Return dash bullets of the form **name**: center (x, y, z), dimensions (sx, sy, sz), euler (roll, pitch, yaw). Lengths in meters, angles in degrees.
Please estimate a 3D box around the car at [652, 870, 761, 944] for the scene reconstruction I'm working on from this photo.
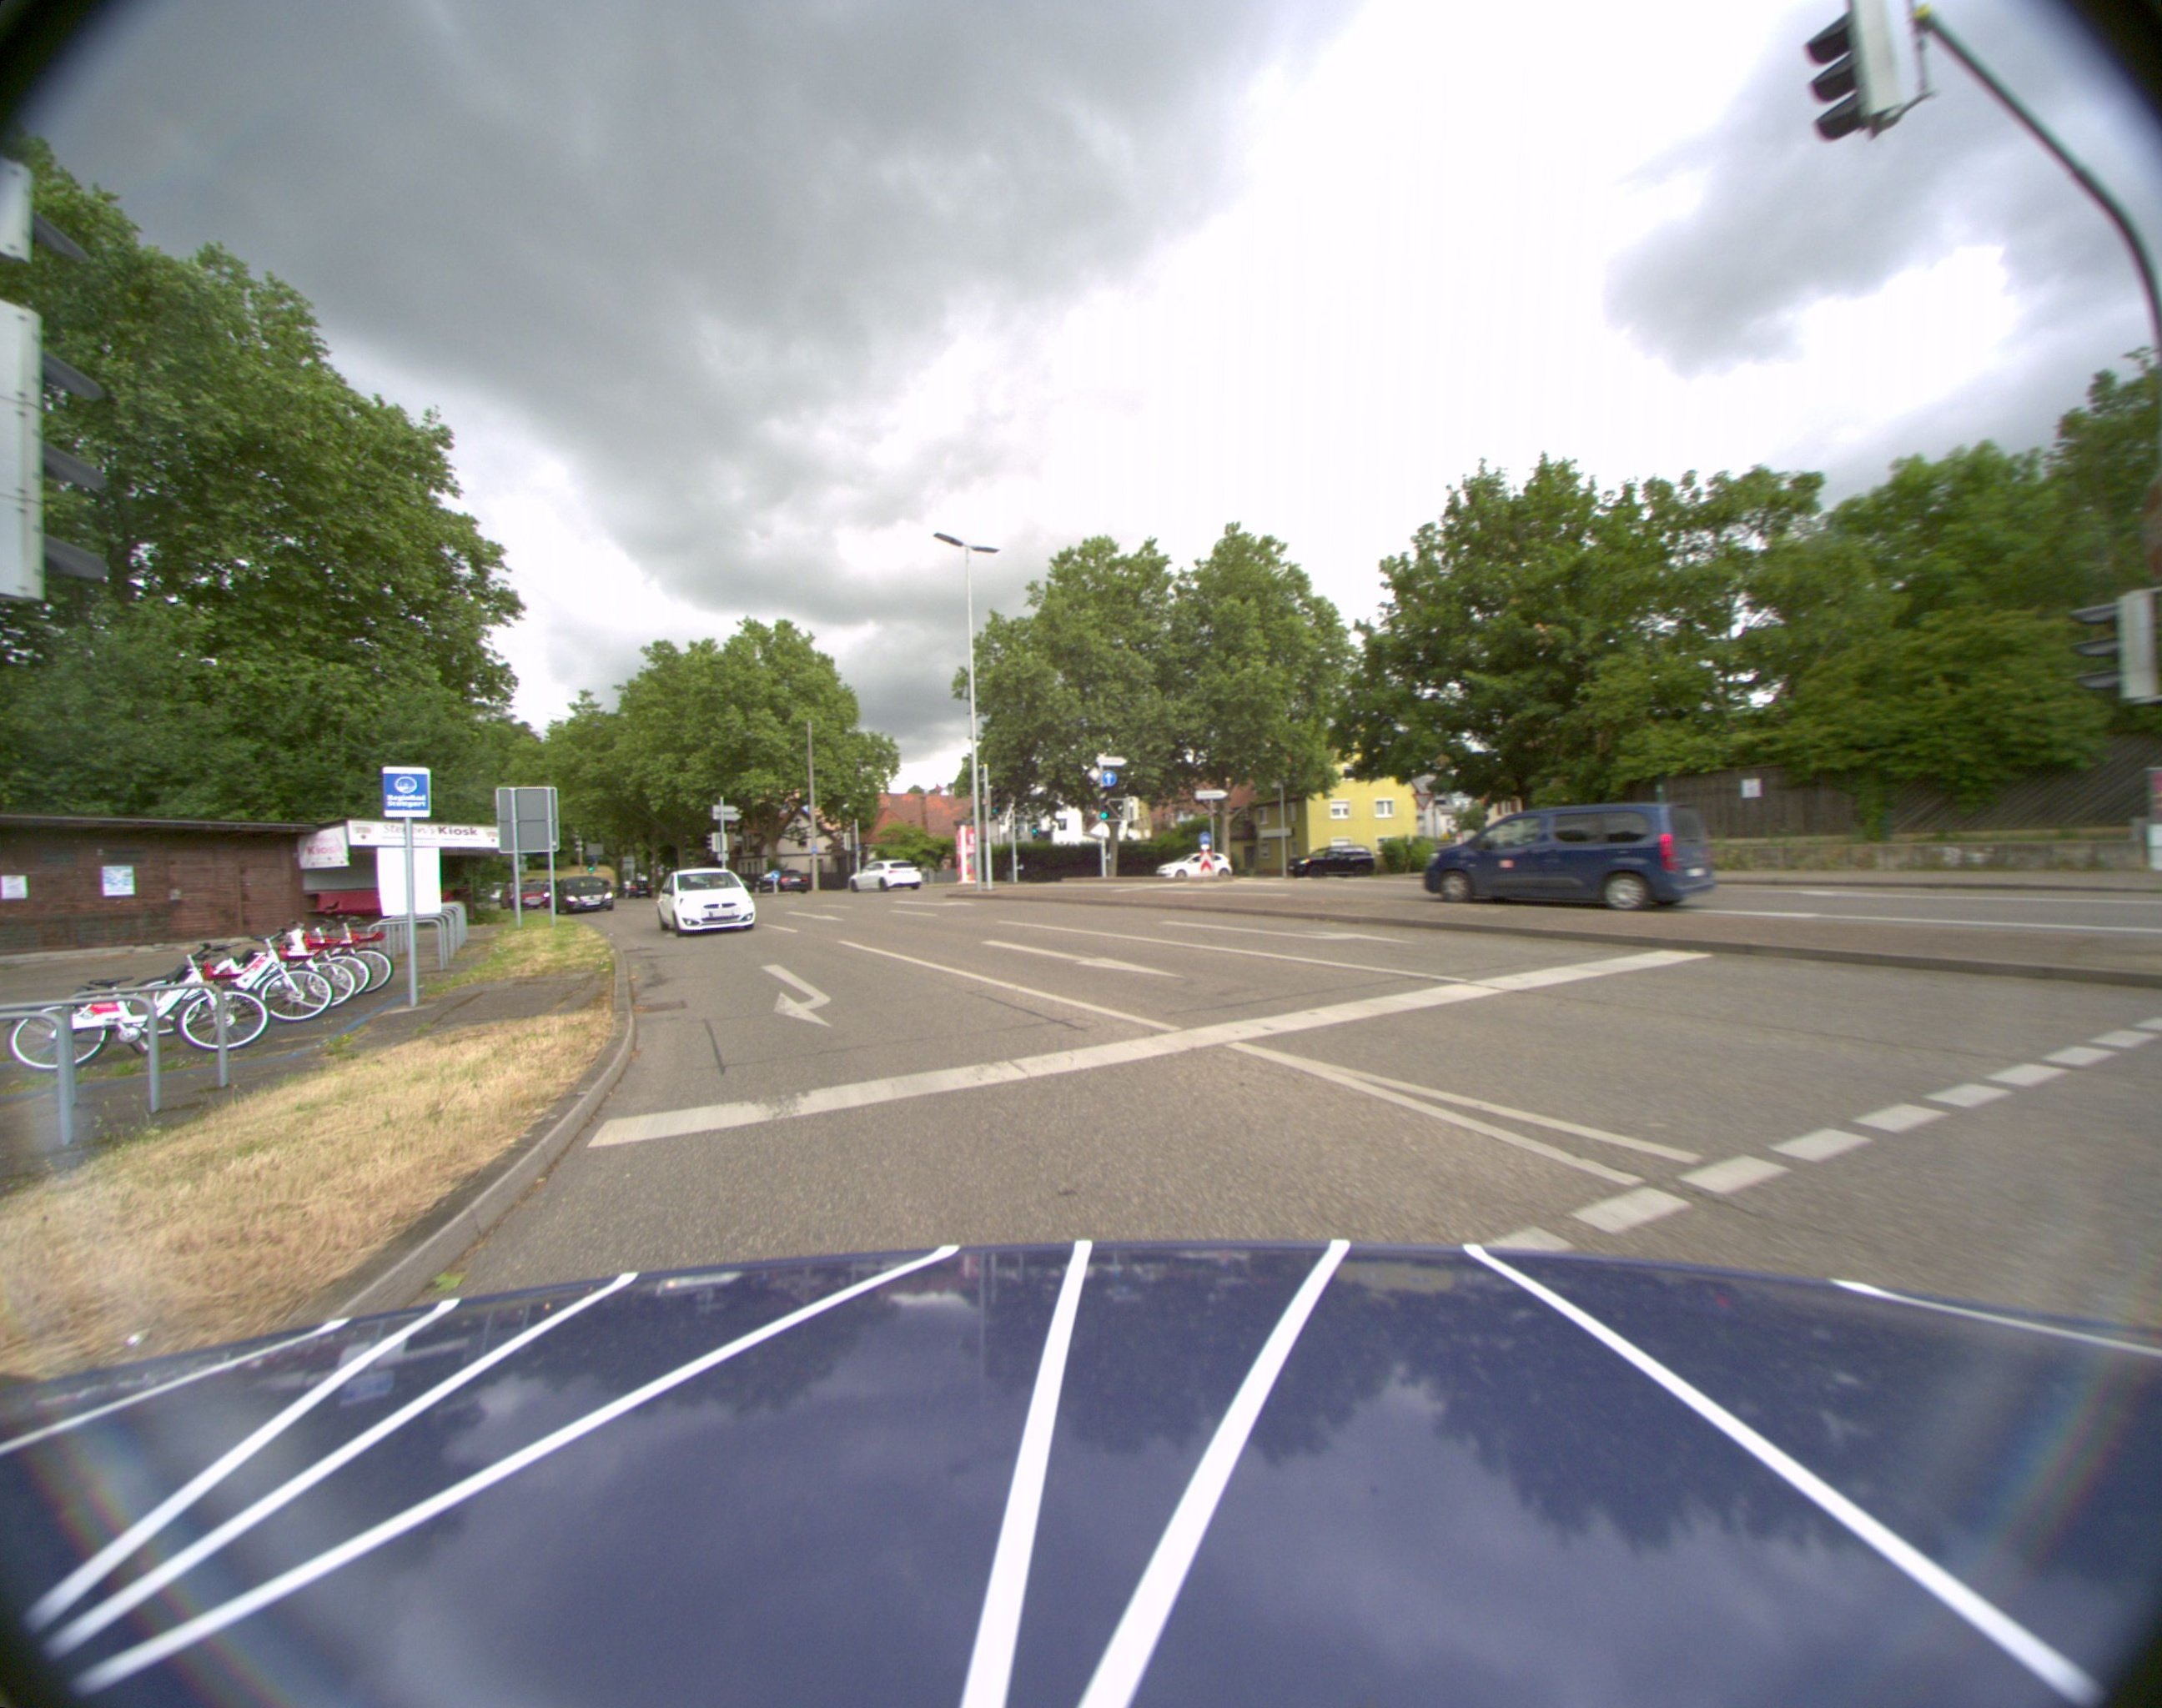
- **car**: center (-8.980, 1.164, 18.086), dimensions (1.677, 1.440, 3.595), euler (-5, 2, -35)

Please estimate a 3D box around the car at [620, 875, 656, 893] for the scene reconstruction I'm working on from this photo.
- **car**: center (-34.615, 2.330, 59.319), dimensions (1.677, 1.306, 3.629), euler (-3, 1, -42)

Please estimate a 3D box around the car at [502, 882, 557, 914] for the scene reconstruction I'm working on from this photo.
- **car**: center (-32.886, 2.589, 45.273), dimensions (1.901, 1.607, 4.495), euler (-4, 2, -44)

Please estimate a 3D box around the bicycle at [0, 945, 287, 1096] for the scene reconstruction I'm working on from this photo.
- **bicycle**: center (-9.281, 1.588, 7.519), dimensions (1.817, 1.110, 0.580), euler (-3, 3, -34)

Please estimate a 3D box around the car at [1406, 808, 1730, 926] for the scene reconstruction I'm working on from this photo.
- **car**: center (8.391, 0.194, 13.522), dimensions (1.834, 1.696, 4.465), euler (-4, 1, -34)

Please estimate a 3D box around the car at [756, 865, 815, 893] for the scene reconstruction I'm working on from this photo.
- **car**: center (-16.676, 1.398, 42.794), dimensions (1.735, 1.439, 3.989), euler (-3, 0, -41)

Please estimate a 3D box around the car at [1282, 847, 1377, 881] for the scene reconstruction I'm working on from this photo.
- **car**: center (13.685, 0.539, 41.925), dimensions (4.592, 1.642, 1.810), euler (-3, 0, -11)

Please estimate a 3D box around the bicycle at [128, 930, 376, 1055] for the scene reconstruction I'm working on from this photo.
- **bicycle**: center (-9.607, 1.570, 8.918), dimensions (1.817, 1.110, 0.580), euler (-3, 3, -34)

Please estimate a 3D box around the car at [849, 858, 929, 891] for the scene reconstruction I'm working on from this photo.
- **car**: center (-8.959, 0.961, 35.304), dimensions (1.815, 1.331, 4.107), euler (-6, 2, -42)

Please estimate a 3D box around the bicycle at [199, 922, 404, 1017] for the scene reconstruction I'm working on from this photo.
- **bicycle**: center (-10.943, 1.593, 10.763), dimensions (1.886, 1.046, 0.596), euler (-3, 2, -29)

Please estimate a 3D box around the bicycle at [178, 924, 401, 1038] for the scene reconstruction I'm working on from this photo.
- **bicycle**: center (-9.921, 1.552, 9.636), dimensions (1.817, 1.110, 0.580), euler (-3, 3, -34)

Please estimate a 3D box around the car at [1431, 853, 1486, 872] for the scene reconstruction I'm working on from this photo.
- **car**: center (28.597, 0.654, 57.634), dimensions (1.731, 1.334, 3.803), euler (-3, 0, -12)

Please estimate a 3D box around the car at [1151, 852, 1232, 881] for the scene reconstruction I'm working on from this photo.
- **car**: center (5.798, 0.675, 39.993), dimensions (3.806, 1.313, 1.810), euler (-3, 0, -18)

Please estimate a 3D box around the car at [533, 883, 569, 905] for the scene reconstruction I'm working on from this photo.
- **car**: center (-37.184, 2.770, 53.266), dimensions (1.799, 1.423, 3.632), euler (-3, 0, -39)

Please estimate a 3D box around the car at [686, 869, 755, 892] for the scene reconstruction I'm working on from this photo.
- **car**: center (-29.695, 2.160, 62.690), dimensions (1.727, 1.689, 4.900), euler (-1, 0, 34)

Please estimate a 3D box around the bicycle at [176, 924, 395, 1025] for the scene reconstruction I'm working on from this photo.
- **bicycle**: center (-10.560, 1.574, 10.192), dimensions (1.886, 1.046, 0.596), euler (-3, 2, -29)

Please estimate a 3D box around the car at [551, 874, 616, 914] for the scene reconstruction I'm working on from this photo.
- **car**: center (-21.618, 1.713, 32.936), dimensions (1.725, 1.522, 4.176), euler (-4, 0, -41)
